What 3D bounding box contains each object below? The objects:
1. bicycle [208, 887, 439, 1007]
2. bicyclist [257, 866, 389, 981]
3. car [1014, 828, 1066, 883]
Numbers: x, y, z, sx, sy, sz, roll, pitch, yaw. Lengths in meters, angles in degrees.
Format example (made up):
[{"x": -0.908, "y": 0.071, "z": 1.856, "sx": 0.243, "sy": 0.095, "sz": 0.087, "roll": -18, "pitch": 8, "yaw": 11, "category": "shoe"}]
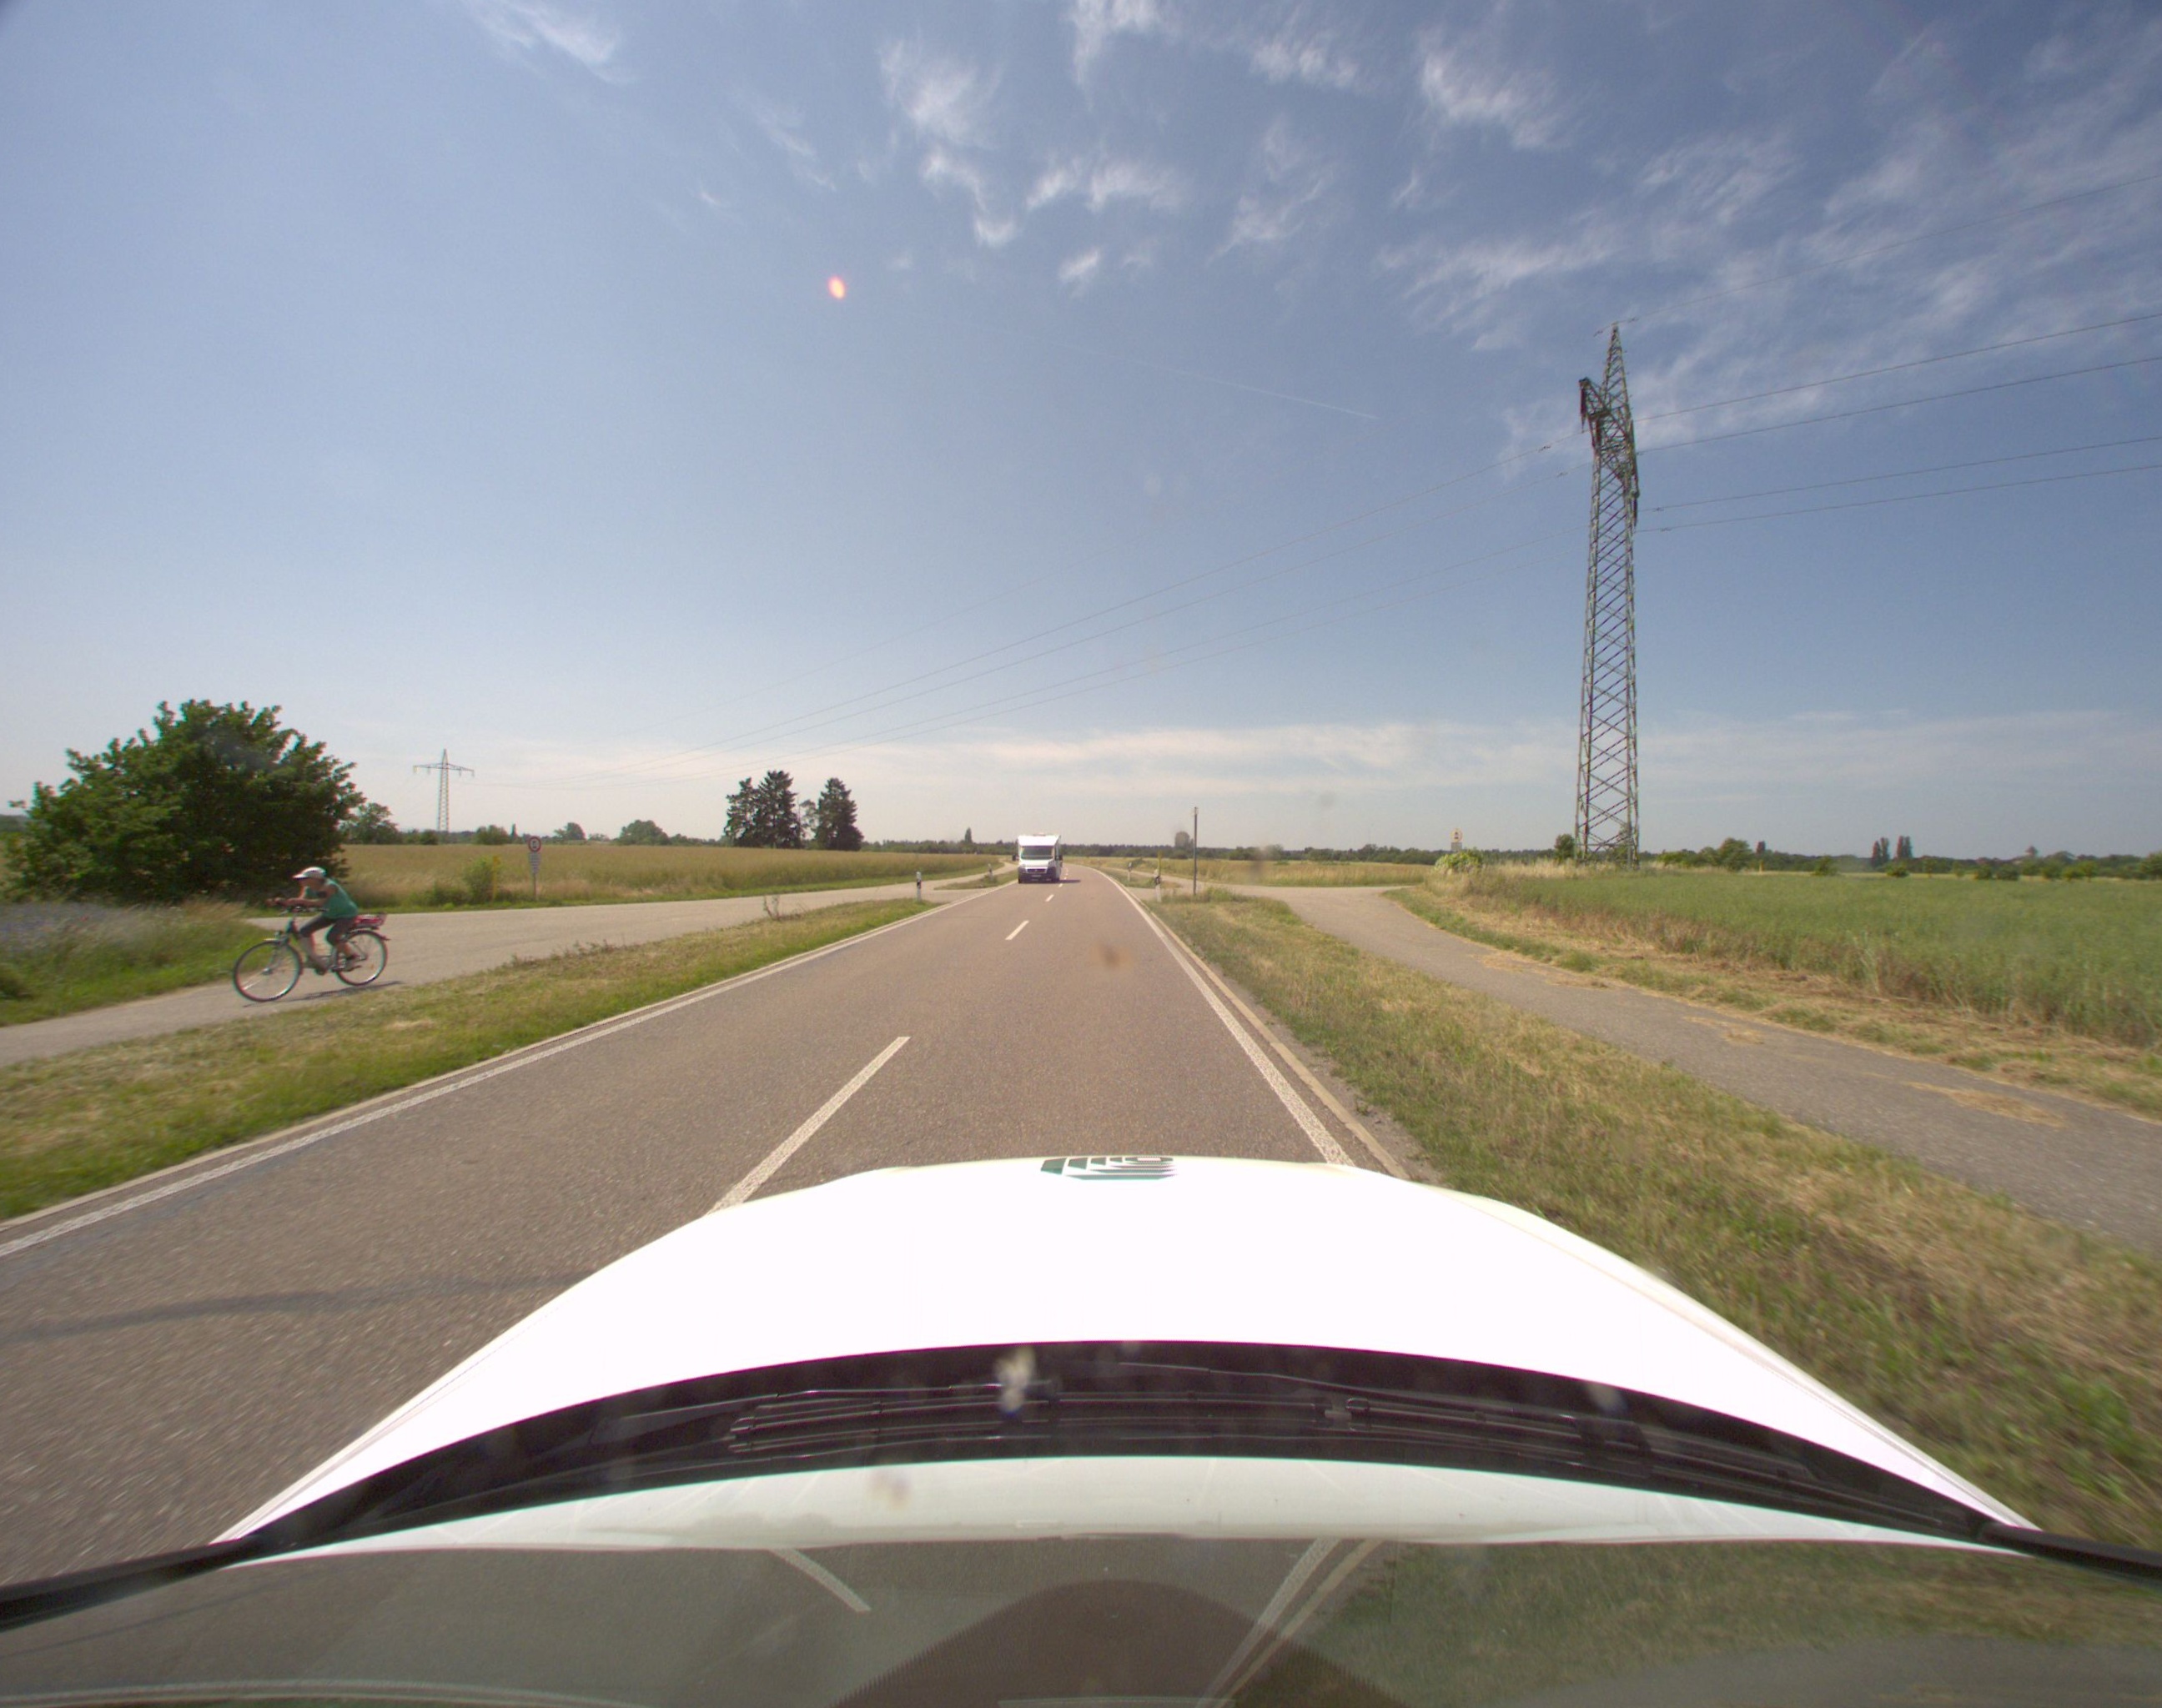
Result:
[{"x": -9.288, "y": 1.078, "z": 10.155, "sx": 0.759, "sy": 1.229, "sz": 2.216, "roll": 0, "pitch": 0, "yaw": 2, "category": "bicycle"}, {"x": -9.336, "y": 0.823, "z": 10.070, "sx": 0.699, "sy": 1.331, "sz": 0.965, "roll": 0, "pitch": 0, "yaw": 1, "category": "bicyclist"}, {"x": -2.242, "y": 0.087, "z": 46.550, "sx": 2.388, "sy": 2.847, "sz": 7.630, "roll": 0, "pitch": 0, "yaw": 1, "category": "car"}]
